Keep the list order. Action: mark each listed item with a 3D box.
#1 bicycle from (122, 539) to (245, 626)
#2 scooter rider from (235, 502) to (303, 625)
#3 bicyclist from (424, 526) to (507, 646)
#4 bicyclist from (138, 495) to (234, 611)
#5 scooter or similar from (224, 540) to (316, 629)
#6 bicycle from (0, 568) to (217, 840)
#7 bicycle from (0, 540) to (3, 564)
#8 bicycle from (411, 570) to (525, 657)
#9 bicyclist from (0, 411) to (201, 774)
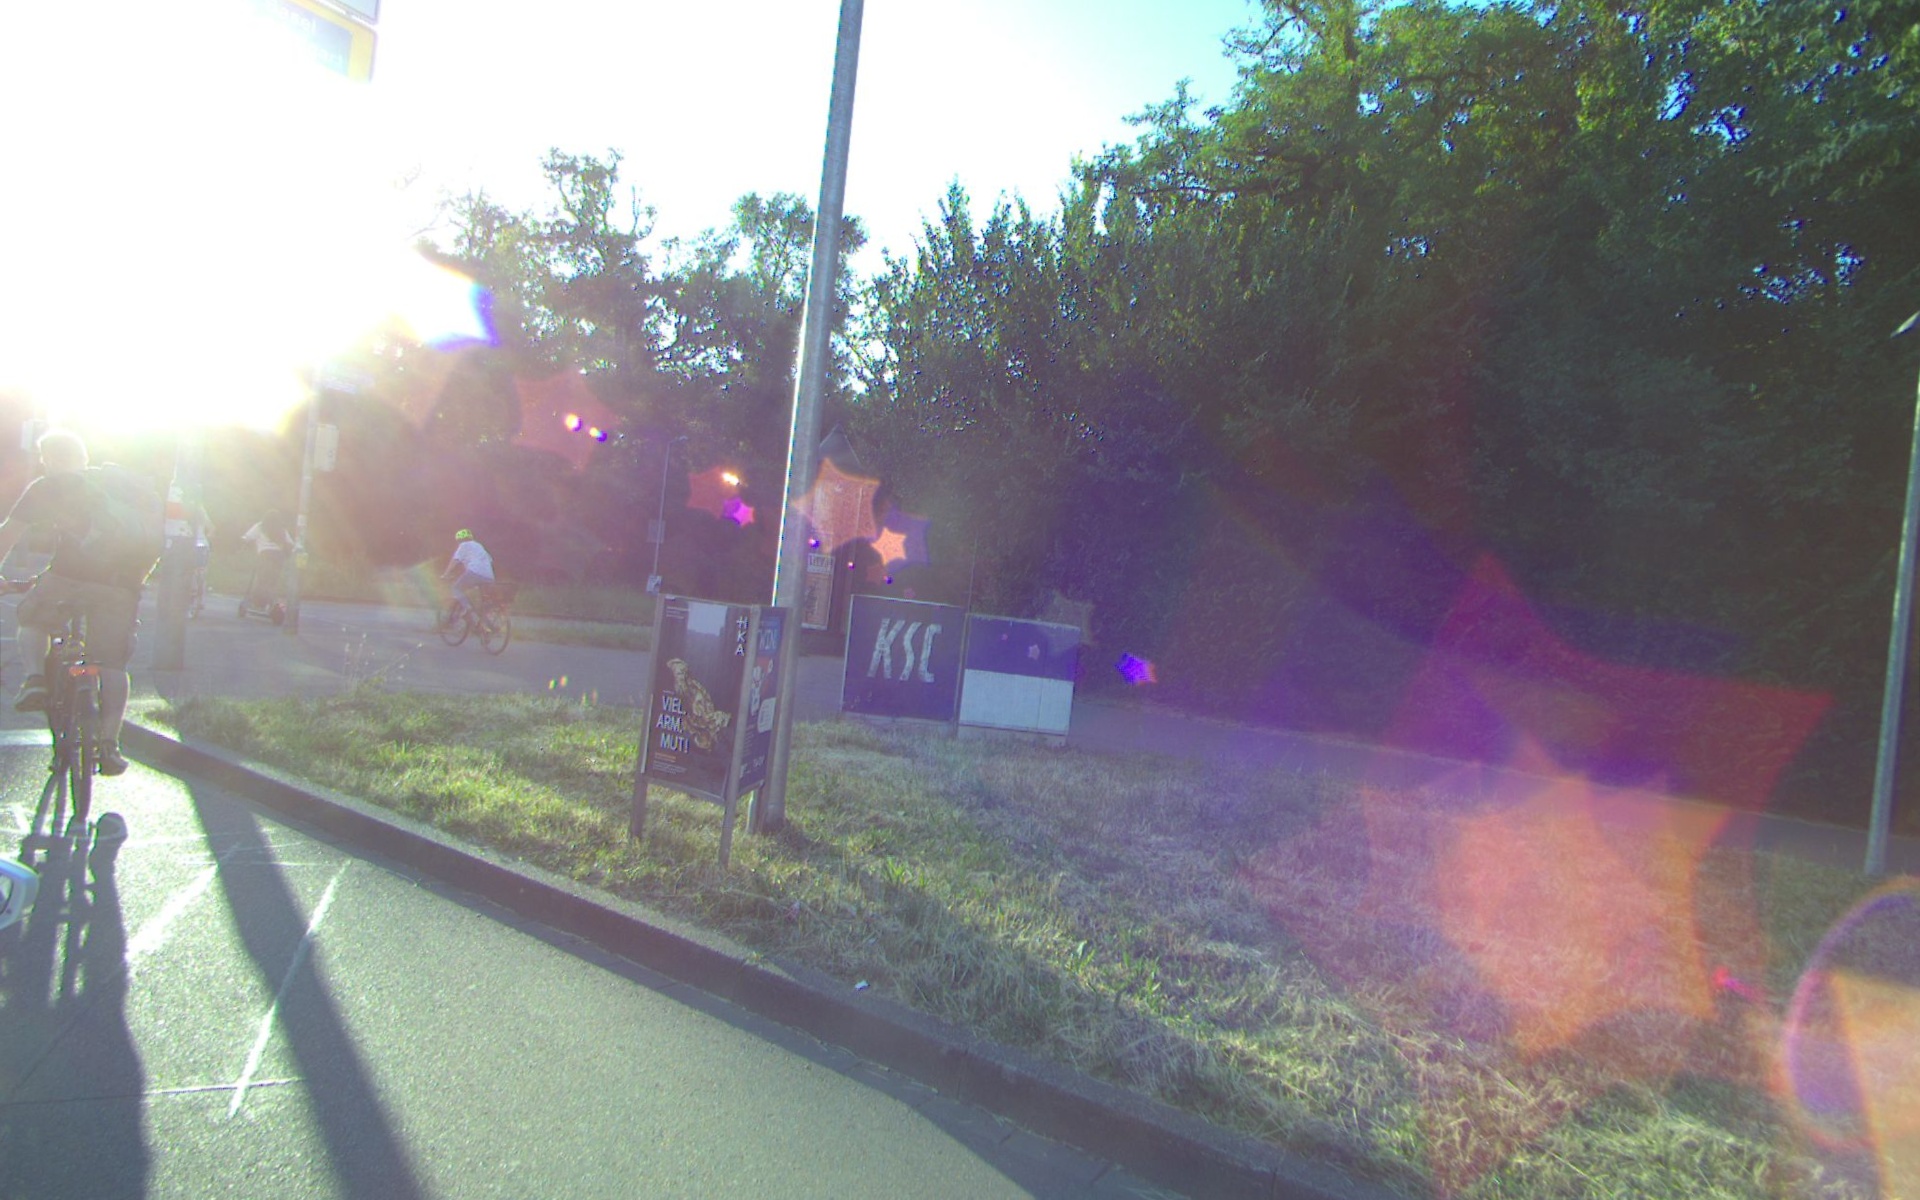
[{"bbox_3d":[-11.304,-0.270,14.622,1.984,1.019,0.771,7,0,34],"label":"bicycle"},{"bbox_3d":[-10.513,-0.548,15.311,0.497,1.788,0.566,6,0,33],"label":"scooter rider"},{"bbox_3d":[-7.044,-0.197,14.324,0.884,1.589,0.554,7,1,34],"label":"bicyclist"},{"bbox_3d":[-11.237,-0.683,14.609,0.843,1.536,0.760,7,0,34],"label":"bicyclist"},{"bbox_3d":[-10.481,-0.240,15.271,1.399,1.204,0.562,6,0,33],"label":"scooter or similar"},{"bbox_3d":[-4.556,0.450,5.124,1.798,1.075,0.698,6,-1,38],"label":"bicycle"},{"bbox_3d":[-7.739,0.037,7.299,1.853,1.151,0.614,7,0,32],"label":"bicycle"},{"bbox_3d":[-6.991,0.178,14.264,1.773,1.027,0.564,7,0,34],"label":"bicycle"},{"bbox_3d":[-4.540,-0.031,5.158,0.786,1.687,0.698,7,-1,38],"label":"bicyclist"}]
